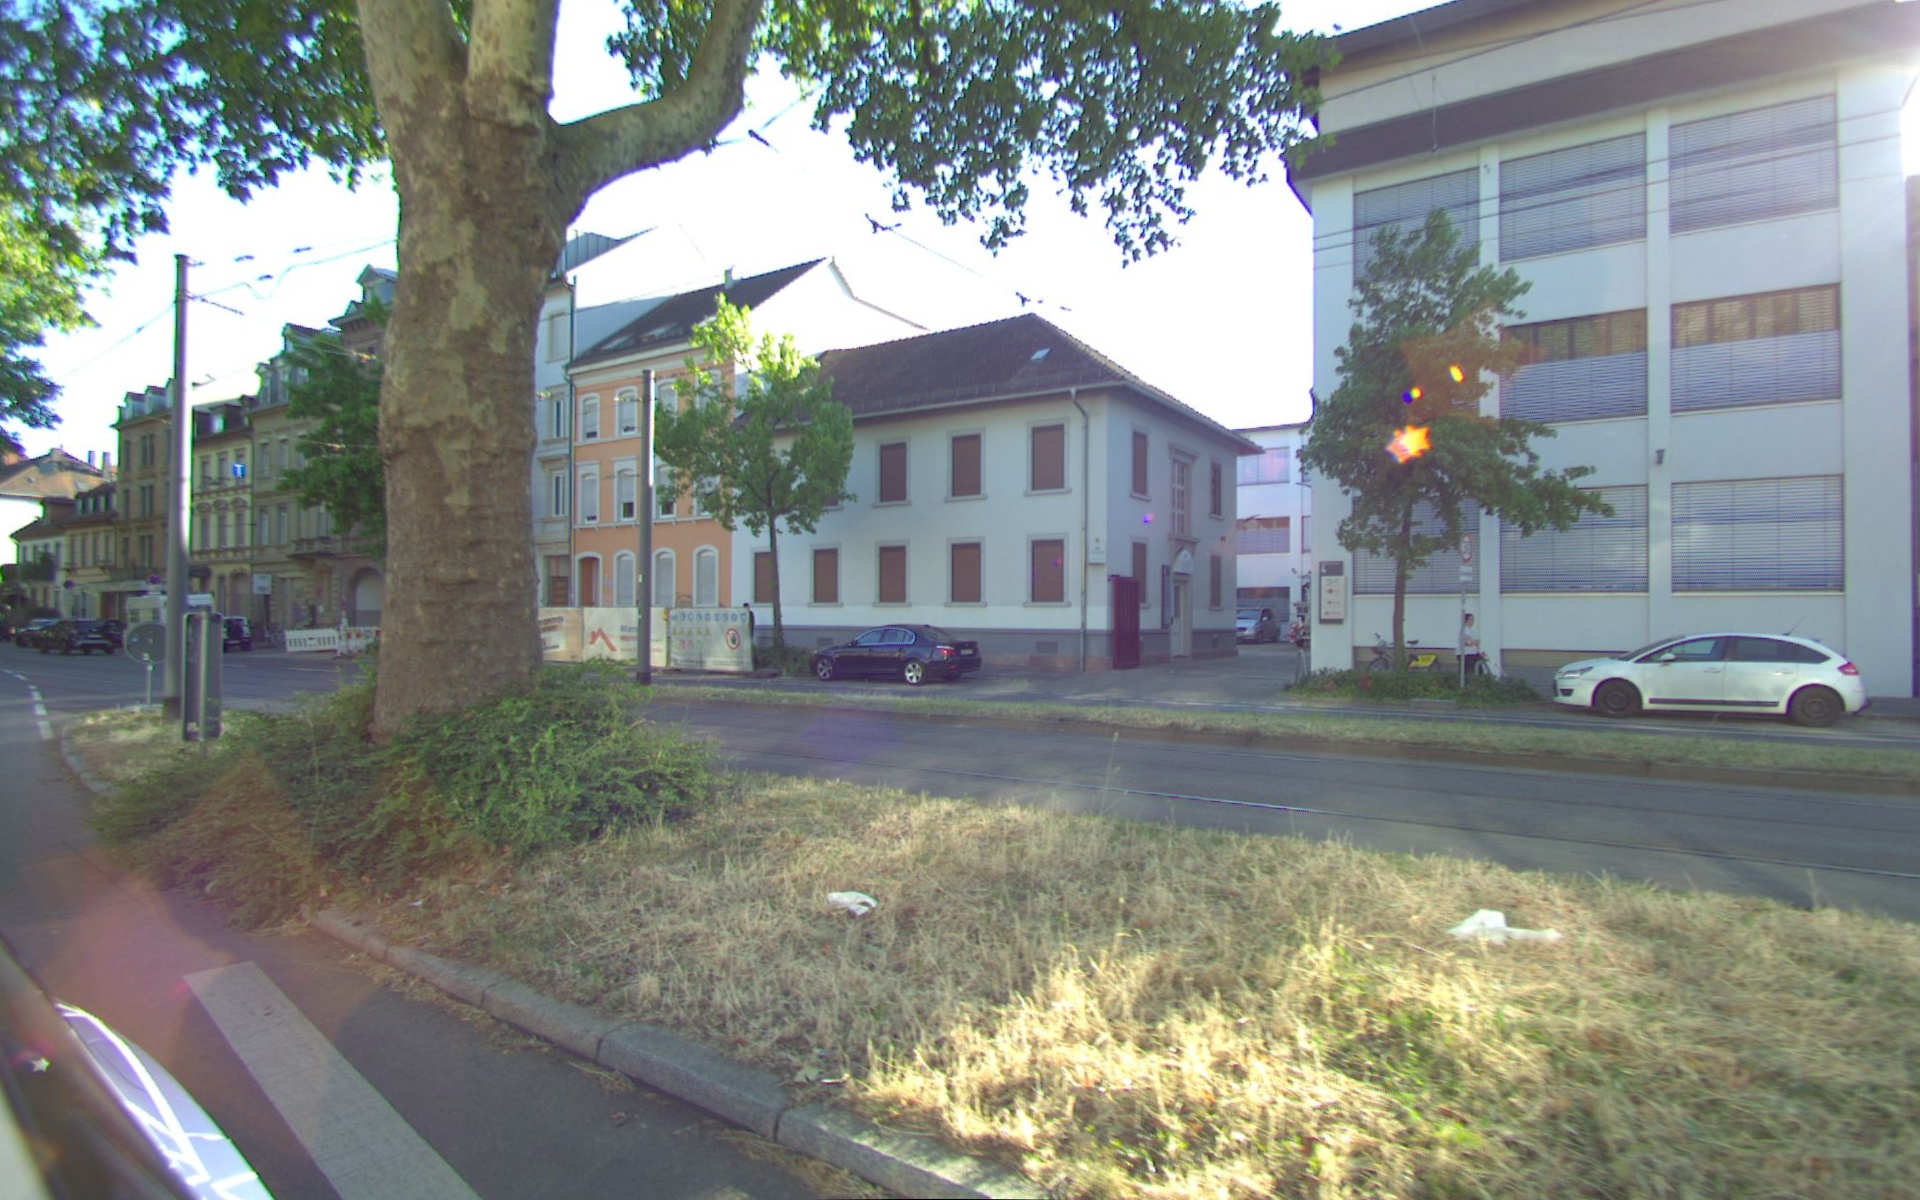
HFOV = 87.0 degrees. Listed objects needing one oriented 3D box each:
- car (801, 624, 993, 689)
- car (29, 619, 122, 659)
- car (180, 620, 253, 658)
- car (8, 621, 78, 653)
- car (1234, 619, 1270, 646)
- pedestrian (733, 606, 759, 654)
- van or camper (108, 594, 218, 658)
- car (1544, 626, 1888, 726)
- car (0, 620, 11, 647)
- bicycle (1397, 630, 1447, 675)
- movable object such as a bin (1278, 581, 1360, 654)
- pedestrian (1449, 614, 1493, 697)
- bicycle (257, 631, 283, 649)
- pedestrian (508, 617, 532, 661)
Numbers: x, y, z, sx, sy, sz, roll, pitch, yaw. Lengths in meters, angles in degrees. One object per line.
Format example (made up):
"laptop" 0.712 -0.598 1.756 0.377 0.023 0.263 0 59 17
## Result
"car" -1.656 1.392 26.037 4.711 1.525 1.977 -1 -2 33
"car" -39.480 1.709 45.159 4.296 1.702 1.978 -1 -2 32
"car" -35.579 1.845 48.416 3.359 1.718 1.619 -1 1 31
"car" -55.249 2.198 60.960 4.736 1.715 1.978 -1 2 33
"car" 14.594 1.644 50.558 1.474 1.307 3.279 0 -2 21
"pedestrian" -7.218 1.016 34.169 0.637 1.582 0.589 -1 -2 32
"van or camper" -40.779 1.301 51.688 7.234 2.969 2.399 -1 2 35
"car" 12.396 1.175 17.011 4.391 1.482 1.978 -1 -2 32
"car" -65.367 2.277 67.904 3.616 1.759 1.710 -1 1 35
"bicycle" 10.621 1.208 23.290 1.015 1.010 0.300 -1 -2 33
"movable object such as a bin" 16.538 0.724 46.378 2.280 3.026 6.052 -1 1 32
"pedestrian" 10.238 1.090 20.281 0.729 1.633 0.630 -1 -1 32
"bicycle" -36.702 2.106 53.856 1.788 0.931 0.573 -1 -2 36
"pedestrian" -16.942 1.496 38.964 0.686 1.666 0.563 -1 0 35
